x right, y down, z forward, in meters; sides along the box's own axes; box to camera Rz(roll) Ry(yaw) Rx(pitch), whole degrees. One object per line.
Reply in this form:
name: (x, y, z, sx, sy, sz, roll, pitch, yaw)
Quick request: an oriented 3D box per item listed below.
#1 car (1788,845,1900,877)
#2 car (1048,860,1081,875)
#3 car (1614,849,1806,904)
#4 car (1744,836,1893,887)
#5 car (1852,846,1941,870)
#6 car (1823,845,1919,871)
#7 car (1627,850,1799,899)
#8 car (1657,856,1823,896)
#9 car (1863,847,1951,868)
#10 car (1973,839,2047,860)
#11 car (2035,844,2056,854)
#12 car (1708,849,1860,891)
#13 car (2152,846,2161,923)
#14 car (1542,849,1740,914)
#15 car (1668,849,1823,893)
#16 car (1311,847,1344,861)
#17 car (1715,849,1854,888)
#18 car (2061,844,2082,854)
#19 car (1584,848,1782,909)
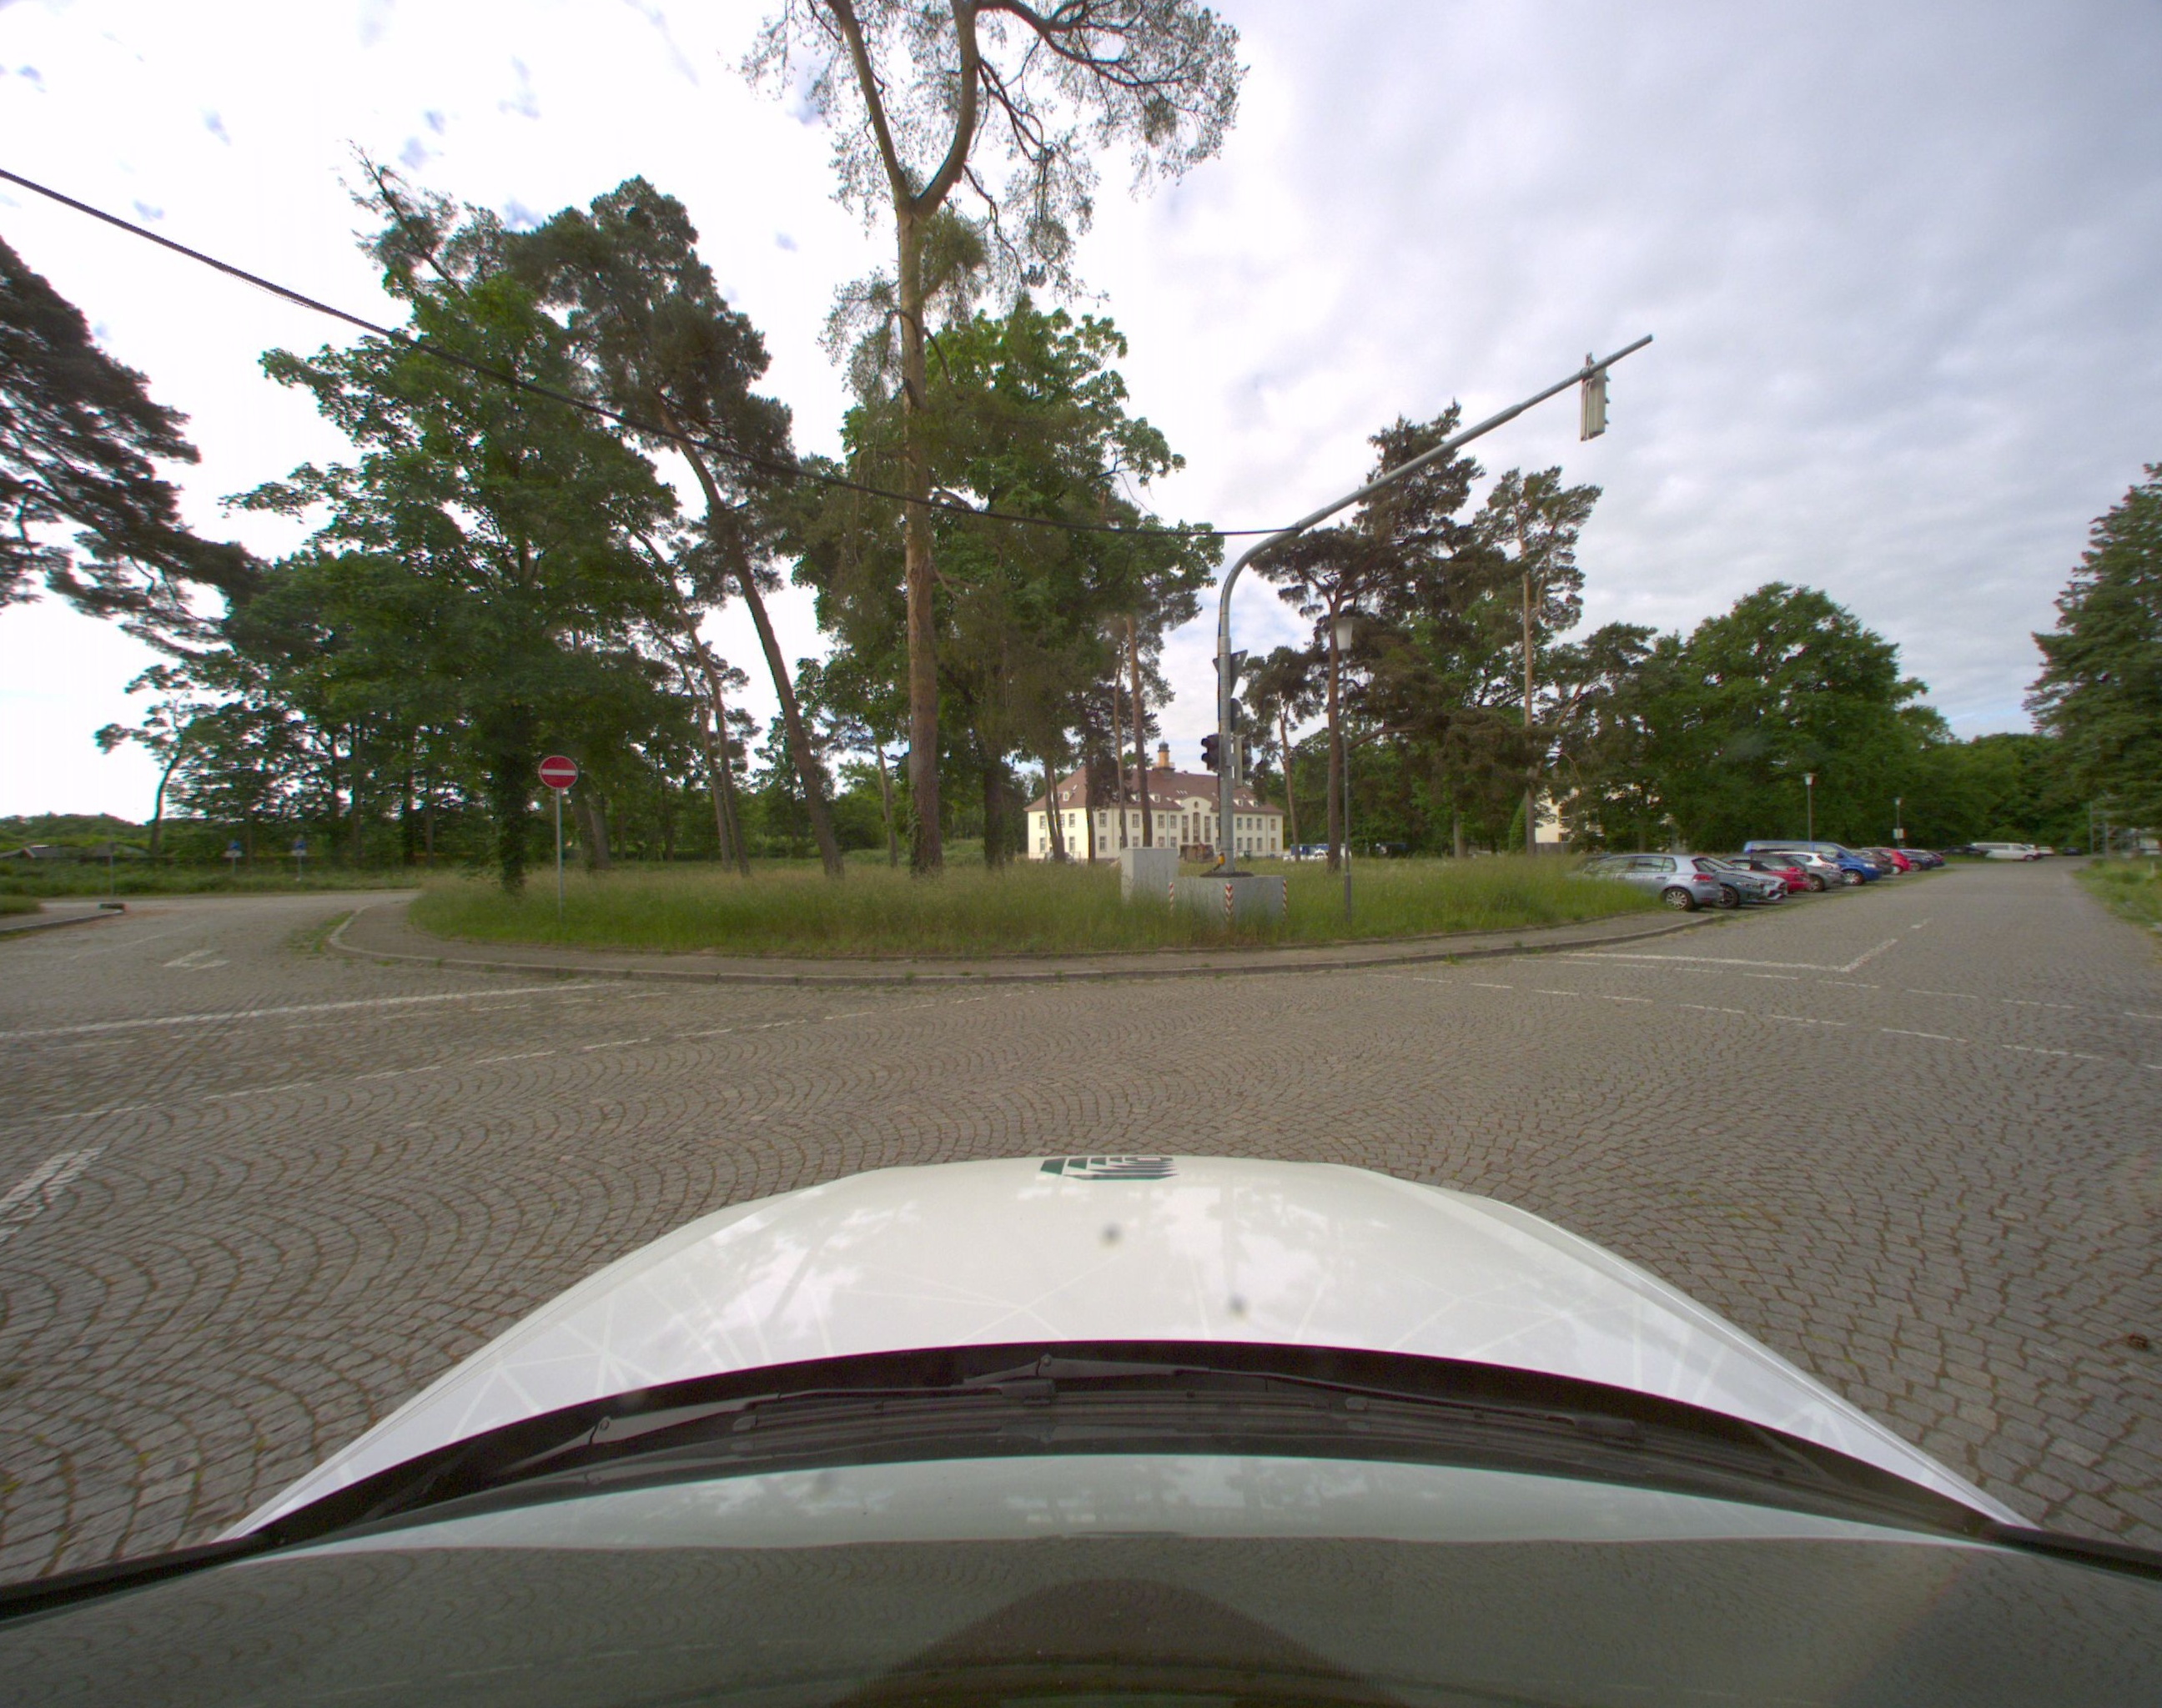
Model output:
car: (39.940, 0.364, 42.678, 1.997, 1.622, 4.129, -1, 0, -42)
car: (-2.541, 2.000, 123.040, 4.975, 2.200, 2.012, -1, 0, 43)
car: (19.096, 0.636, 24.876, 1.946, 1.507, 4.336, -1, 0, -41)
car: (33.214, 0.331, 36.801, 2.126, 2.122, 4.741, -1, 0, -40)
car: (55.924, 0.218, 55.887, 1.897, 1.577, 4.192, -1, 1, -41)
car: (47.888, 0.263, 49.425, 1.915, 1.525, 4.020, -1, 0, -41)
car: (20.604, 0.633, 26.679, 1.874, 1.476, 4.131, -1, 0, -40)
car: (22.583, 0.722, 28.027, 1.840, 1.266, 4.132, -1, 0, -38)
car: (59.613, 0.230, 58.854, 1.984, 1.461, 4.268, -1, 1, -38)
car: (99.604, -0.510, 87.439, 2.011, 2.168, 5.189, 0, 0, -42)
car: (151.876, -0.796, 128.285, 4.021, 1.521, 2.100, 0, 0, -41)
car: (26.992, 0.572, 31.387, 1.873, 1.491, 4.132, -1, 0, -38)
car: (22.093, 0.485, 14.127, 1.814, 1.515, 4.037, -1, -3, -42)
car: (14.707, 0.678, 21.551, 1.915, 1.543, 3.953, -1, 0, -40)
car: (24.397, 0.595, 30.025, 1.855, 1.482, 4.132, -1, 0, -39)
car: (36.951, -0.033, 121.921, 5.254, 2.014, 1.978, 0, -1, -37)
car: (28.951, 0.569, 33.613, 1.855, 1.497, 4.034, -1, 0, -39)
car: (153.780, -0.836, 126.416, 4.021, 1.521, 1.934, 0, 0, -41)
car: (16.973, 0.649, 23.114, 1.946, 1.548, 4.212, -1, 0, -43)
